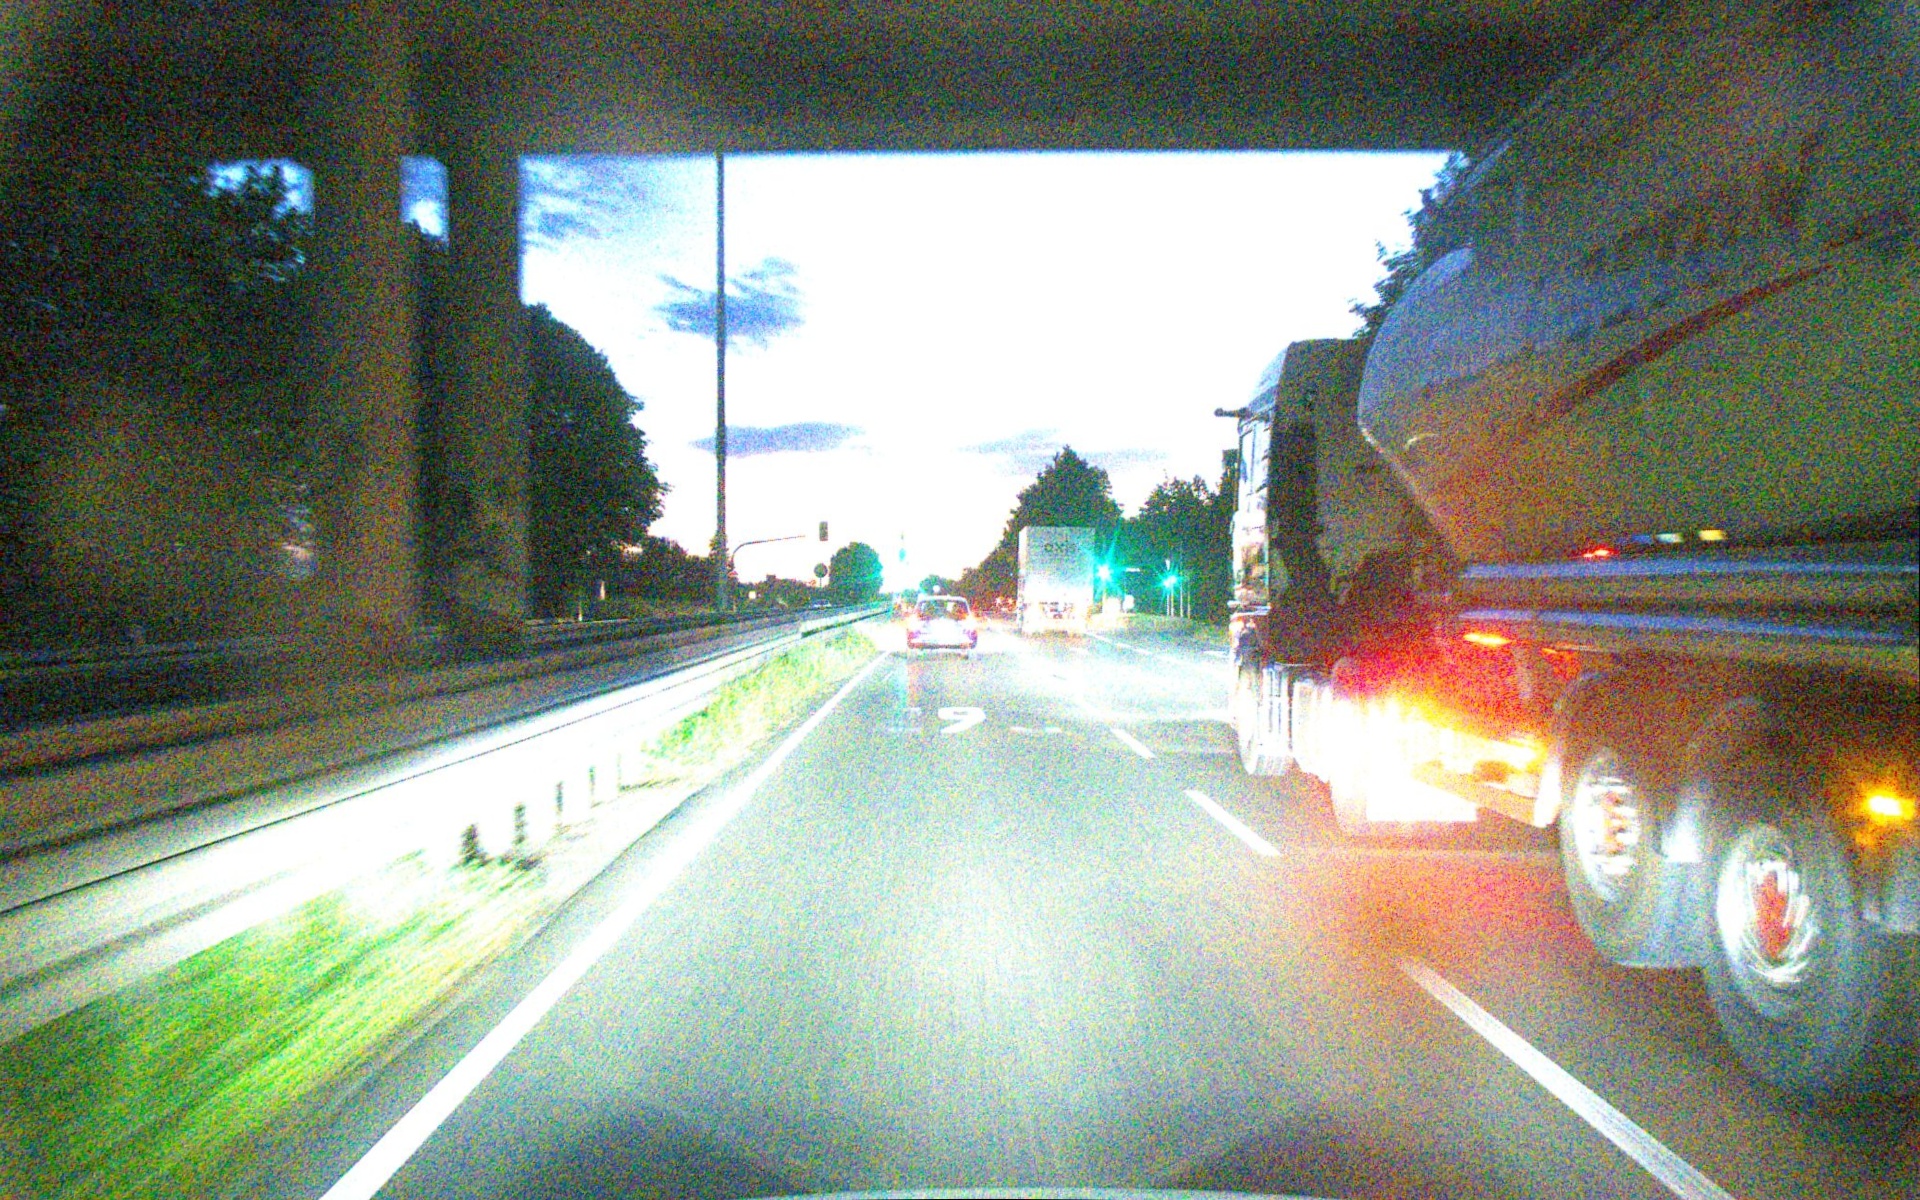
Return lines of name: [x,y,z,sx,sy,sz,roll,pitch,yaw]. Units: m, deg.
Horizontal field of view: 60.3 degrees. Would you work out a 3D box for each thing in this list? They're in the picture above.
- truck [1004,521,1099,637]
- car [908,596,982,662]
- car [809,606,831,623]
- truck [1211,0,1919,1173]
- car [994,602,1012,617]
truck: [3.499,-0.753,66.424,2.824,4.178,12.680,1,0,-1]
car: [-0.381,0.663,39.685,1.661,1.478,3.913,1,0,-1]
car: [-11.927,1.241,140.889,1.573,1.353,3.938,-2,0,-1]
truck: [3.797,-0.585,9.371,2.632,4.178,13.139,1,0,0]
car: [4.310,0.974,165.412,1.661,1.478,3.913,1,0,-1]
